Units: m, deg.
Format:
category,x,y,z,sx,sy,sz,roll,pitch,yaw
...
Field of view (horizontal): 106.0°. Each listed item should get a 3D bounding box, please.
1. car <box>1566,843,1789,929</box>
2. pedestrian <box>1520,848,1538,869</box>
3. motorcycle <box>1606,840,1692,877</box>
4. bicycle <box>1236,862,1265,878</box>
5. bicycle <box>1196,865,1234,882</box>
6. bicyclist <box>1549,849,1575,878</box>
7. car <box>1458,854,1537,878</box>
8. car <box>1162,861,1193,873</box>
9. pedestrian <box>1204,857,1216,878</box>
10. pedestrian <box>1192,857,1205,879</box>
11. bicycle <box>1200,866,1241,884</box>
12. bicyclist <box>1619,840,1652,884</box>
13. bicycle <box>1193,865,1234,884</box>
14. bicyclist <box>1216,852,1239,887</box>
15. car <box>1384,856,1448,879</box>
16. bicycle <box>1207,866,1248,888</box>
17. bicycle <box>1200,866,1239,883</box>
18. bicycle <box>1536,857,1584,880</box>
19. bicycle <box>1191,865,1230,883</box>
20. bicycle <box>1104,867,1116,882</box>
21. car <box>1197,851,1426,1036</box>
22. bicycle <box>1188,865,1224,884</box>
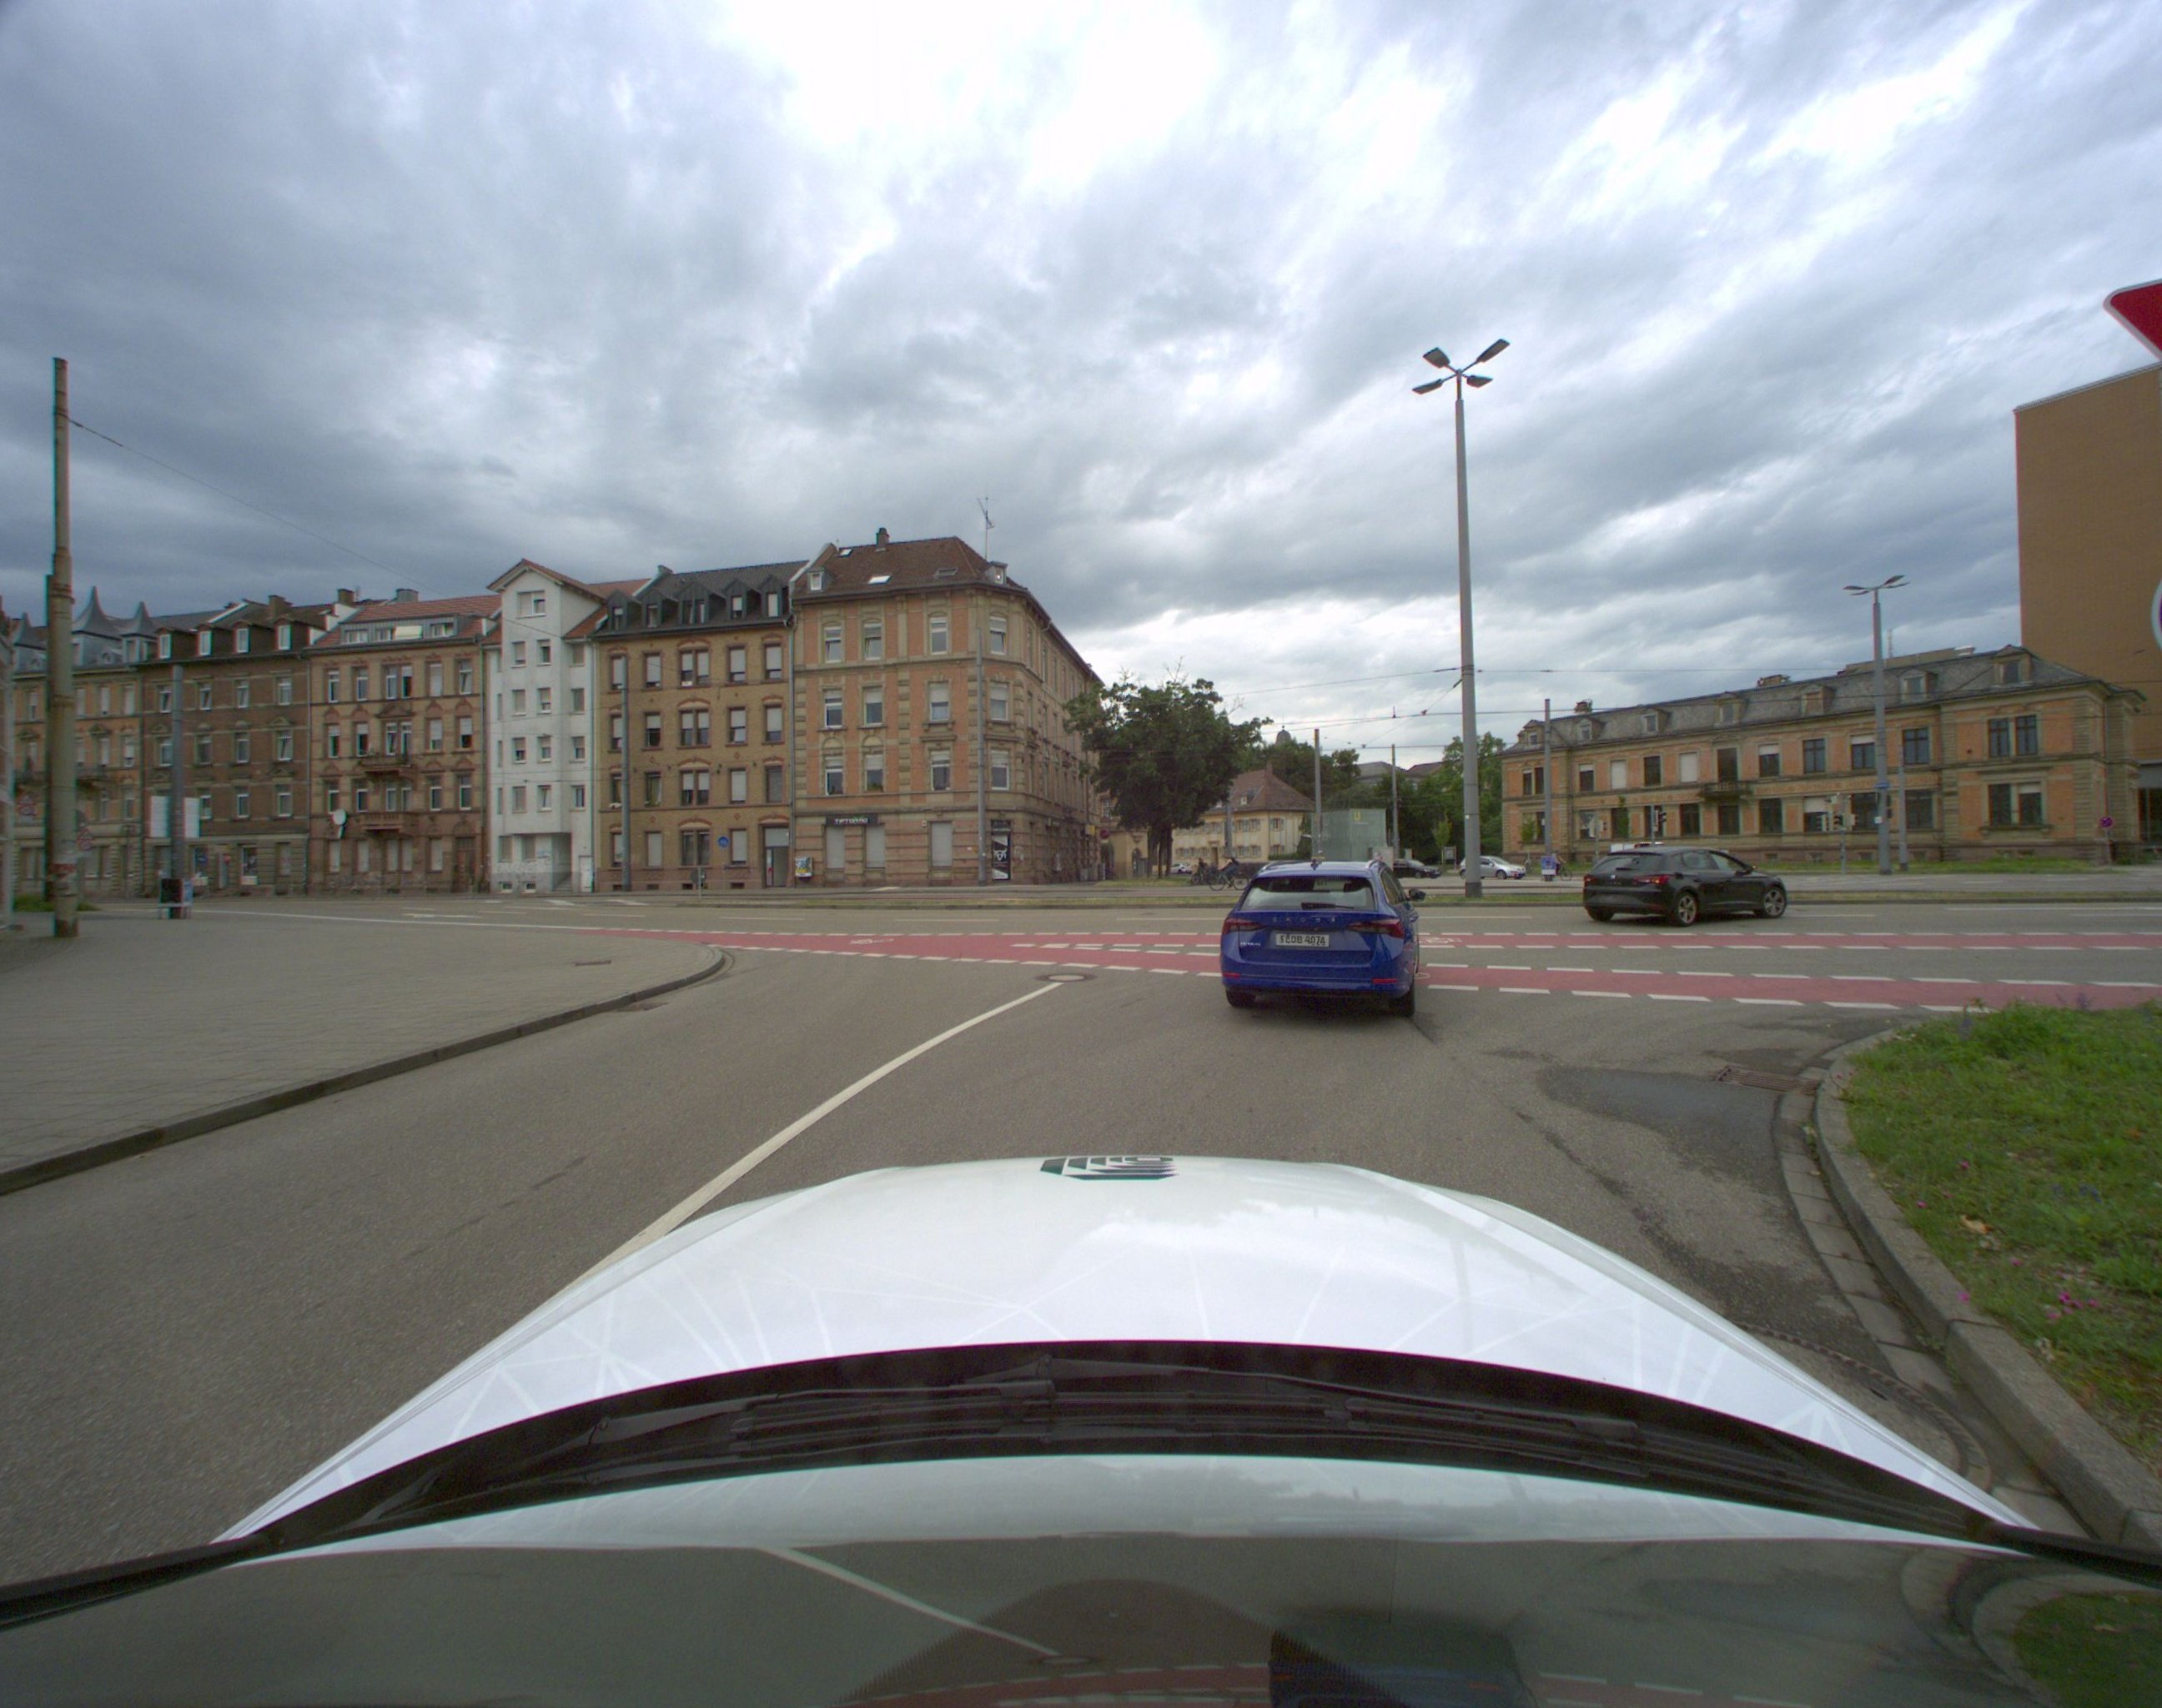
category,x,y,z,sx,sy,sz,roll,pitch,yaw
car,11.440,0.553,15.633,3.815,1.449,1.697,-1,0,-22
pedestrian,38.156,0.420,69.418,0.762,1.763,1.114,0,-1,-40
motorcycle,32.493,0.253,46.665,1.701,2.014,3.653,-1,-1,-29
bicycle,12.288,1.166,59.085,0.741,1.115,2.343,-1,-1,-25
bicycle,8.236,1.217,50.095,2.194,0.987,0.588,-1,-1,21
bicyclist,26.695,0.522,45.186,0.857,1.623,0.909,0,-2,-28
car,25.948,0.761,50.920,1.765,1.454,4.124,-1,-1,-27
car,12.195,1.667,103.038,1.702,1.449,4.146,-1,0,-31
pedestrian,10.547,1.099,66.421,0.838,1.722,0.956,-1,-1,15
pedestrian,9.227,1.074,63.888,0.838,1.722,0.956,-1,-1,15
bicycle,7.857,1.175,45.965,2.194,0.987,0.502,-1,-1,21
bicyclist,23.743,0.337,34.891,0.807,1.798,1.033,-3,-1,14
bicycle,7.378,1.146,45.312,2.194,1.006,0.482,-1,-1,21
bicyclist,6.395,0.676,35.525,0.934,1.494,0.665,-1,-1,8
car,23.084,0.932,56.302,1.699,1.449,4.111,-1,0,-23
bicycle,6.378,1.005,35.514,1.704,0.915,0.609,-1,-1,7
bicycle,8.304,1.253,48.864,2.194,0.987,0.588,-1,-1,21
bicycle,26.629,0.822,45.305,0.859,1.208,2.178,0,-1,-27
bicycle,7.129,1.107,44.799,2.014,0.987,0.524,-1,-1,21
bicycle,1.798,1.252,50.120,0.658,0.914,1.989,-1,0,0
car,2.769,0.748,8.959,1.763,1.488,4.491,-1,-1,24
bicycle,6.784,1.095,44.114,1.847,0.987,0.502,-1,-1,20
